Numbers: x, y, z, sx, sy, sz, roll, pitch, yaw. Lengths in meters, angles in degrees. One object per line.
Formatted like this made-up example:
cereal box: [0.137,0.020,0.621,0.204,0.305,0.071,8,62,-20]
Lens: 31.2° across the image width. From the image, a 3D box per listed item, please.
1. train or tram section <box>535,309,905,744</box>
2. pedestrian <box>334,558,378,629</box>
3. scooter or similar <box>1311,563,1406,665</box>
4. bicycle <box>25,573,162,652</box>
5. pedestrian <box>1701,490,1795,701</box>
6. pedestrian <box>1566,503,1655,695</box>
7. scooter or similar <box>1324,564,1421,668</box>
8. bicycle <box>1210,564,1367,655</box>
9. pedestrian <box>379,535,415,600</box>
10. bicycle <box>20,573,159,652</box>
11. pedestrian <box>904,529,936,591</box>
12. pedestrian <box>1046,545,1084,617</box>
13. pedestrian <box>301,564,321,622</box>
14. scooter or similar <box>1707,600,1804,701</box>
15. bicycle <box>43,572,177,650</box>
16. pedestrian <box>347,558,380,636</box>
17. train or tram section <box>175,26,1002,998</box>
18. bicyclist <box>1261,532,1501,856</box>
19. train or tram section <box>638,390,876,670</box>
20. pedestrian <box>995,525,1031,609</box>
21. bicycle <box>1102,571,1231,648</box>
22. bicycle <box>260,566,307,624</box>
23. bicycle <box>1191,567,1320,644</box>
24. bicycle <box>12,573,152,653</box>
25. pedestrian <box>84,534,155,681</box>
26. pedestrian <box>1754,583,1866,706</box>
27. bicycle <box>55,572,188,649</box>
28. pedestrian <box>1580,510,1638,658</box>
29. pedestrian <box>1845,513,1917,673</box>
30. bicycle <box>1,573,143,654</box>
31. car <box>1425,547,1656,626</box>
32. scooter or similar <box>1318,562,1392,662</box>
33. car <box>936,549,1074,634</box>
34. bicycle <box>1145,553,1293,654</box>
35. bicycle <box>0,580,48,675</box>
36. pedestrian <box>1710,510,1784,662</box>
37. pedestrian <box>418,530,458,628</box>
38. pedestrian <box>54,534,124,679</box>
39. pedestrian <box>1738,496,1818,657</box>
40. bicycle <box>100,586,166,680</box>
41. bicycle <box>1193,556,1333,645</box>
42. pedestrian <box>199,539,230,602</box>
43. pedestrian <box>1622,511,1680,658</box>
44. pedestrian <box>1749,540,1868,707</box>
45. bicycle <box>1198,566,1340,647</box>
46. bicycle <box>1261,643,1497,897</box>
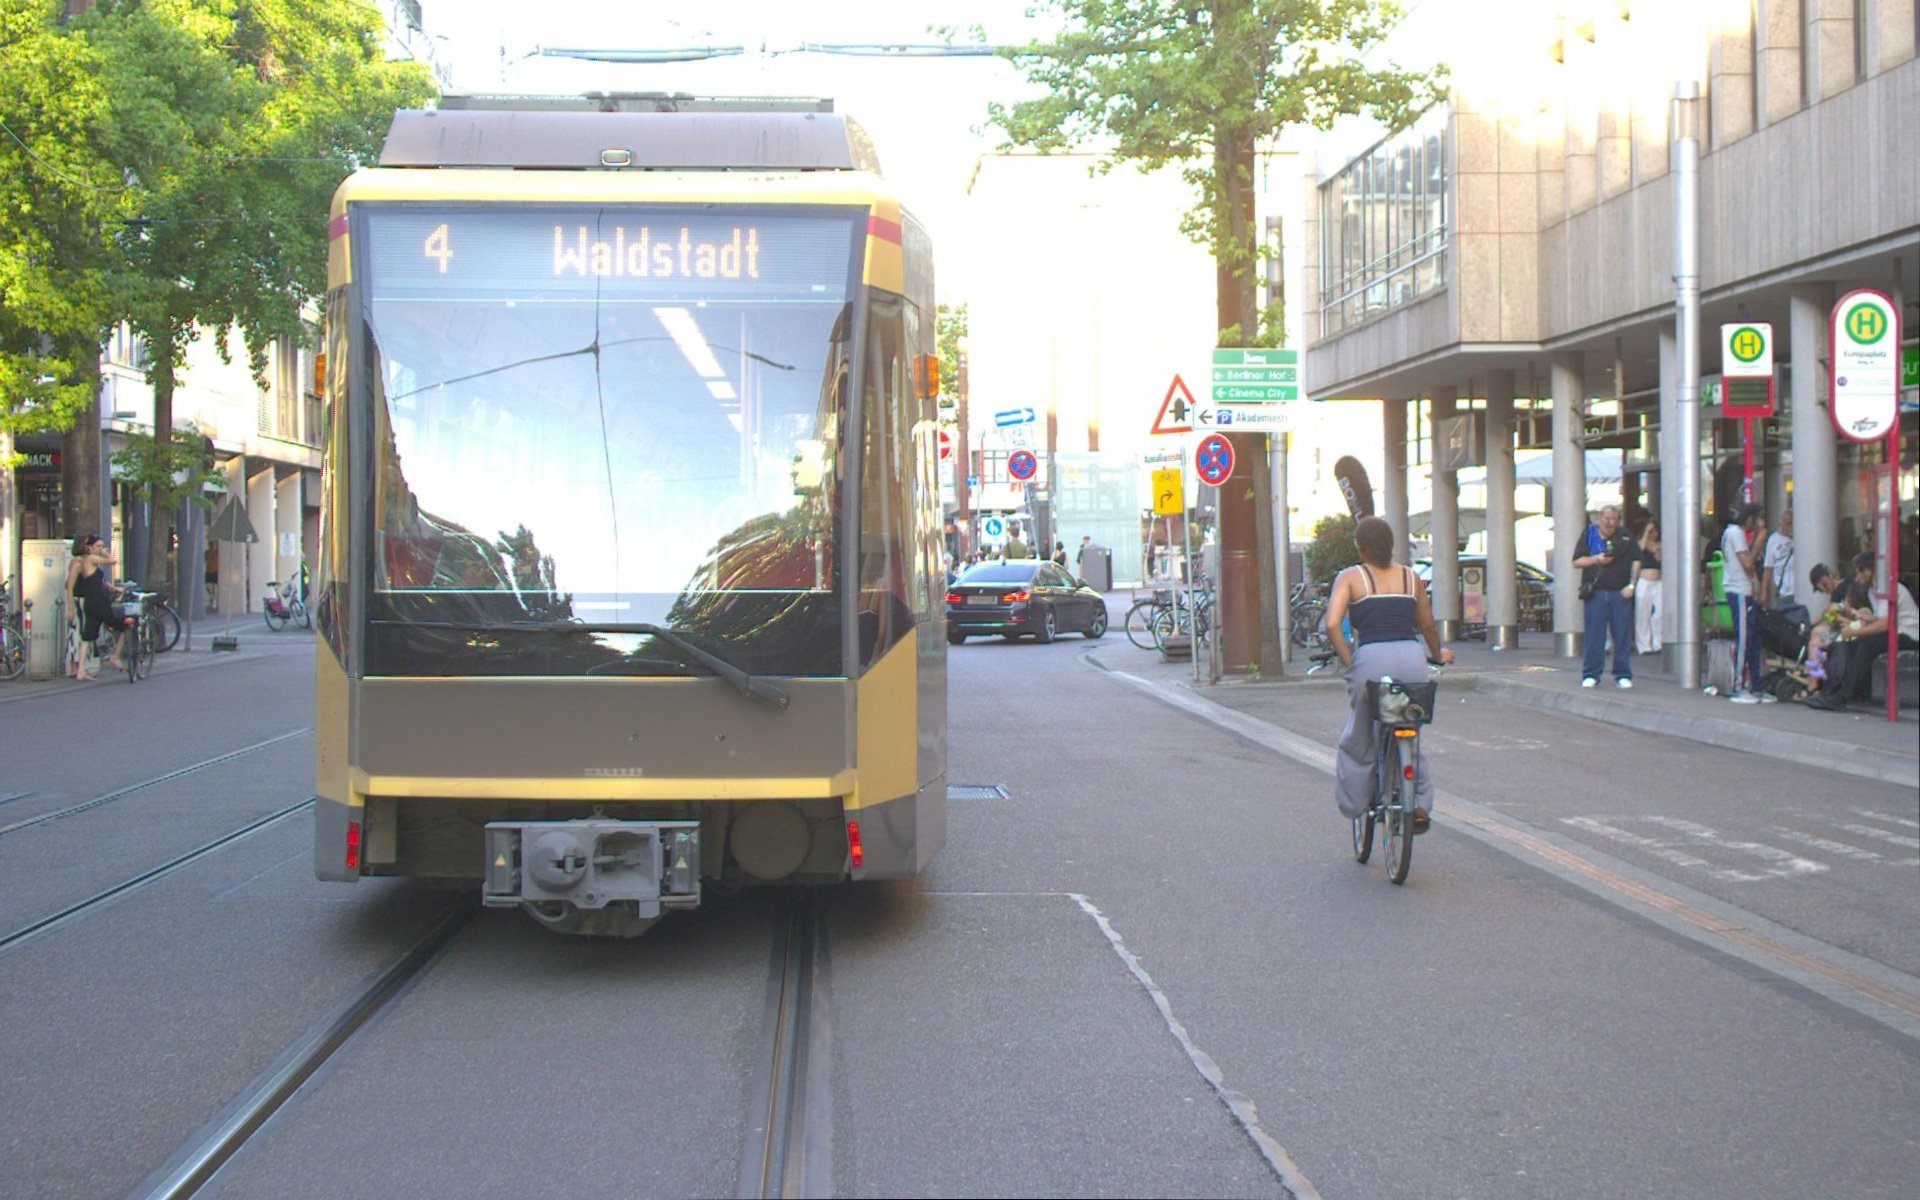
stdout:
train or tram section: [-2.120,-0.695,33.526,2.800,3.308,14.510,0,1,-2]
pedestrian: [-12.165,-0.126,69.240,0.555,1.429,0.684,-1,0,36]
scooter or similar: [5.060,0.165,43.629,1.187,1.247,0.393,-2,2,-31]
bicycle: [-12.007,0.165,47.656,1.772,1.041,0.489,1,1,-2]
pedestrian: [6.967,-0.045,30.409,0.639,1.833,0.668,-1,0,-1]
pedestrian: [6.310,-0.010,33.371,0.668,1.833,0.708,-1,0,-2]
scooter or similar: [5.140,0.188,42.860,1.112,1.247,0.497,-2,2,-32]
bicycle: [4.496,0.123,47.094,1.995,1.151,0.726,-3,1,-6]
pedestrian: [-13.860,-0.803,84.577,0.626,1.583,0.605,0,0,-44]
bicycle: [-12.002,0.167,47.413,1.772,1.041,0.489,1,1,-2]
pedestrian: [-1.192,-1.184,102.054,0.733,1.817,0.820,0,1,-16]
pedestrian: [2.665,-0.480,87.368,0.733,1.817,0.820,0,1,-16]
pedestrian: [-17.304,-0.184,91.674,0.508,1.542,0.518,0,0,-10]
scooter or similar: [7.209,0.449,31.177,0.834,0.881,0.686,1,0,13]
bicycle: [-12.041,0.155,48.717,1.772,1.041,0.489,1,1,-2]
pedestrian: [-11.370,-0.059,65.561,0.603,1.489,0.555,0,0,-10]
train or tram section: [-1.551,-0.436,19.014,2.800,3.308,14.510,0,1,-2]
bicyclist: [2.009,0.434,16.531,0.997,1.497,0.857,1,1,-1]
train or tram section: [-2.696,-0.962,48.011,2.800,3.308,14.510,0,1,-2]
pedestrian: [1.098,-0.678,71.353,0.718,1.719,0.709,0,0,-1]
bicycle: [3.140,0.134,52.355,1.852,1.105,0.667,-2,1,-4]
bicycle: [-13.872,-0.109,70.515,0.498,1.104,1.800,0,2,3]
bicycle: [4.515,0.082,52.615,1.852,1.105,0.667,-2,1,-4]
bicycle: [-11.959,0.173,46.836,1.772,1.041,0.489,1,1,-2]
pedestrian: [-9.828,0.081,40.183,0.602,1.693,0.535,1,1,27]
pedestrian: [7.331,0.379,29.668,0.813,1.039,0.544,0,0,0]
bicycle: [-12.024,0.150,49.298,1.772,1.041,0.489,1,1,-2]
pedestrian: [8.026,-0.199,42.531,0.539,1.800,0.604,-1,1,-3]
pedestrian: [10.083,-0.082,37.647,0.570,1.725,0.617,-1,1,-3]
bicycle: [-11.943,0.178,46.264,1.772,1.041,0.489,1,1,-2]
car: [10.658,-0.243,63.255,3.888,1.404,1.776,0,0,-3]
scooter or similar: [5.088,0.147,44.249,0.393,1.247,1.189,0,2,37]
car: [0.806,-0.132,58.893,1.770,1.404,4.050,0,0,10]
bicycle: [3.619,0.043,48.186,1.914,1.328,0.726,-3,1,-6]
bicycle: [-11.068,0.310,40.149,0.488,1.041,1.778,0,1,-5]
pedestrian: [9.367,-0.169,40.940,0.663,1.781,0.719,-1,0,-1]
pedestrian: [-10.355,-0.414,68.193,0.773,1.919,0.709,0,0,-10]
pedestrian: [-10.314,0.072,40.720,0.602,1.693,0.535,1,1,27]
pedestrian: [8.541,-0.252,35.902,0.648,1.655,0.650,-1,1,-1]
bicycle: [-9.704,0.373,40.373,0.488,1.041,1.778,0,1,-5]
bicycle: [4.482,0.004,50.947,1.914,1.218,0.763,-3,1,-6]
pedestrian: [-20.515,-0.813,94.575,0.713,1.719,0.709,0,0,-3]
pedestrian: [8.563,-0.196,42.632,0.539,1.800,0.604,-1,1,-3]
pedestrian: [7.111,0.193,28.838,0.813,1.376,0.662,0,0,0]
bicycle: [4.504,0.091,50.202,1.914,1.074,0.763,-3,1,-6]
bicycle: [1.996,0.787,16.664,0.815,1.069,2.113,1,1,-1]
